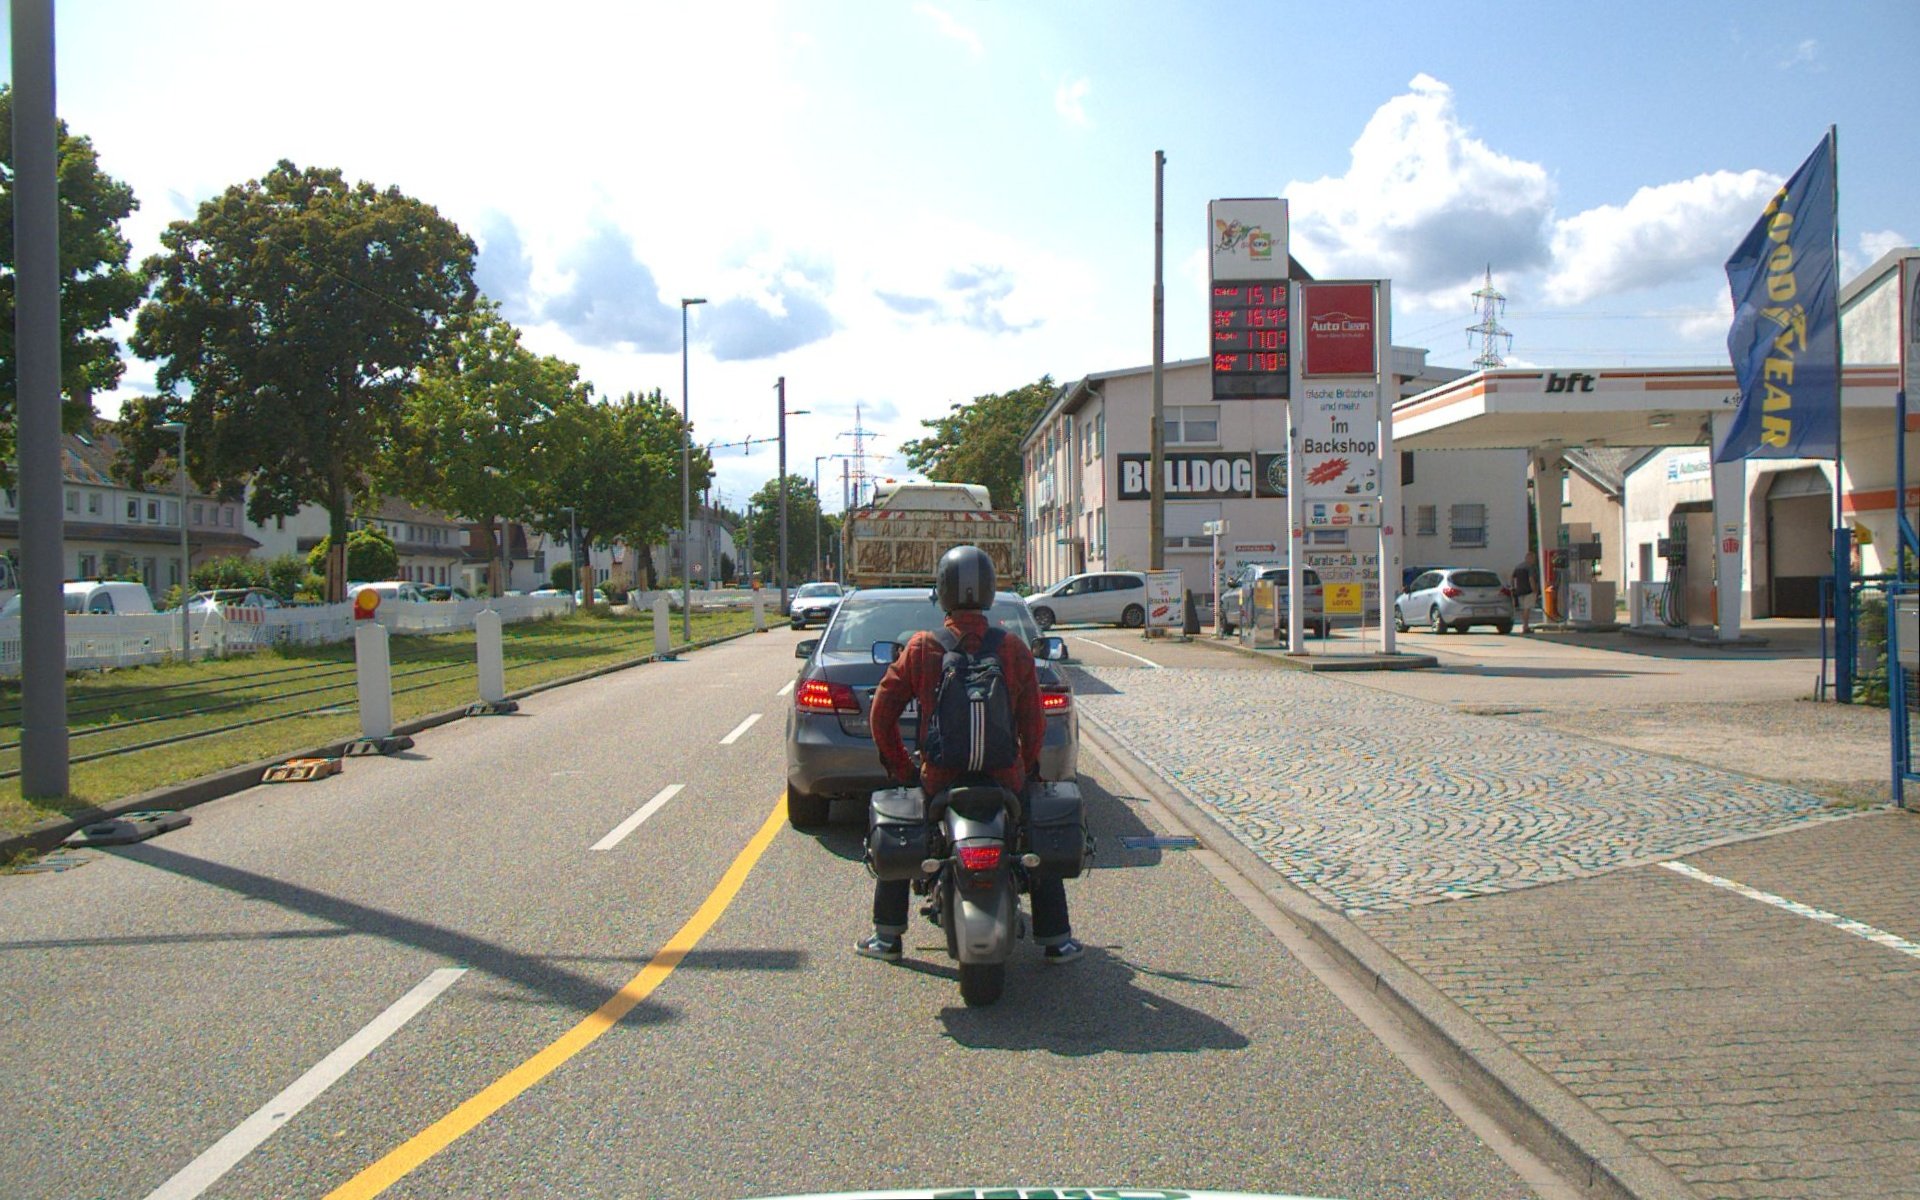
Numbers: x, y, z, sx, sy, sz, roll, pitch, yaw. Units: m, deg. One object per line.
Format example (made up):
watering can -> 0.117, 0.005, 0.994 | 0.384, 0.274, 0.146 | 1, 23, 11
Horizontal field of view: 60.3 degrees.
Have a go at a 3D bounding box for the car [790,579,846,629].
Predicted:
car -> -4.512, 0.090, 53.010 | 1.622, 1.472, 4.301 | -2, 1, -3

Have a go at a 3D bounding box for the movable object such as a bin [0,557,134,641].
movable object such as a bin -> -28.050, -0.042, 51.170 | 4.278, 2.492, 1.776 | -2, 1, -23

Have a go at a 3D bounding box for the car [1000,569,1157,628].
car -> 3.468, -0.049, 48.691 | 4.251, 1.578, 1.946 | -2, 0, -10

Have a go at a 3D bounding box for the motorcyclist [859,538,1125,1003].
motorcyclist -> 0.103, 0.605, 6.490 | 0.920, 1.643, 1.204 | 1, 0, -1

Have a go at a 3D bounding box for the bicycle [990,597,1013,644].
bicycle -> 1.299, 0.626, 51.960 | 0.678, 1.385, 2.419 | -1, 1, 2

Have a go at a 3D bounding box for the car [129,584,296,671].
car -> -16.704, 0.588, 37.188 | 1.953, 1.780, 3.999 | -2, 0, -1

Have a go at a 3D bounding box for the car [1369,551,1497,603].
car -> 16.760, -0.792, 58.698 | 3.907, 1.677, 1.965 | -2, 0, -2

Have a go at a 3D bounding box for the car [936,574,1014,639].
car -> 0.329, 0.123, 40.348 | 1.784, 1.489, 4.000 | 0, 1, -1

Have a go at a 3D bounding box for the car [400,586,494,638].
car -> -17.369, 0.386, 56.196 | 1.953, 1.634, 3.999 | -2, 0, -1

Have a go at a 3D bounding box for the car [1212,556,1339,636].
car -> 7.199, -0.081, 38.106 | 1.920, 1.677, 3.997 | -2, 0, -3

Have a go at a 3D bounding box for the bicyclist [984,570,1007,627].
bicyclist -> 1.102, -0.051, 51.528 | 0.657, 1.774, 0.813 | -1, 0, -2

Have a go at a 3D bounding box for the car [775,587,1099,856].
car -> -0.163, 0.655, 11.140 | 1.785, 1.449, 3.999 | 0, 1, -1

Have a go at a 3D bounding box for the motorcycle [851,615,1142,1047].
motorcycle -> 0.094, 0.760, 6.672 | 0.920, 1.343, 2.644 | 1, 0, -1

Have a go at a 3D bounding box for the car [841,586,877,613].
car -> -5.631, -0.045, 92.438 | 1.809, 1.411, 4.343 | -2, 0, -1

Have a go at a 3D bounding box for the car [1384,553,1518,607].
car -> 16.628, -0.661, 56.146 | 3.907, 1.677, 1.965 | -2, 0, -2

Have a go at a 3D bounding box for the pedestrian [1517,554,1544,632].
pedestrian -> 12.792, -0.155, 37.081 | 0.388, 1.718, 0.485 | -2, 0, 0

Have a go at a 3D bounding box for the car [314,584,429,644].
car -> -17.210, 0.397, 48.553 | 1.953, 1.634, 3.999 | -2, 0, -1

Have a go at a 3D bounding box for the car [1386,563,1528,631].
car -> 11.606, -0.067, 38.928 | 1.920, 1.445, 3.997 | -2, 0, -3

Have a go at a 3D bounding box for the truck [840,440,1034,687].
truck -> -0.354, -0.504, 27.321 | 2.557, 3.313, 9.180 | -2, 0, 0

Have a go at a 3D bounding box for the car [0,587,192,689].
car -> -16.686, 0.685, 31.812 | 1.953, 1.780, 3.999 | -2, 0, -1
